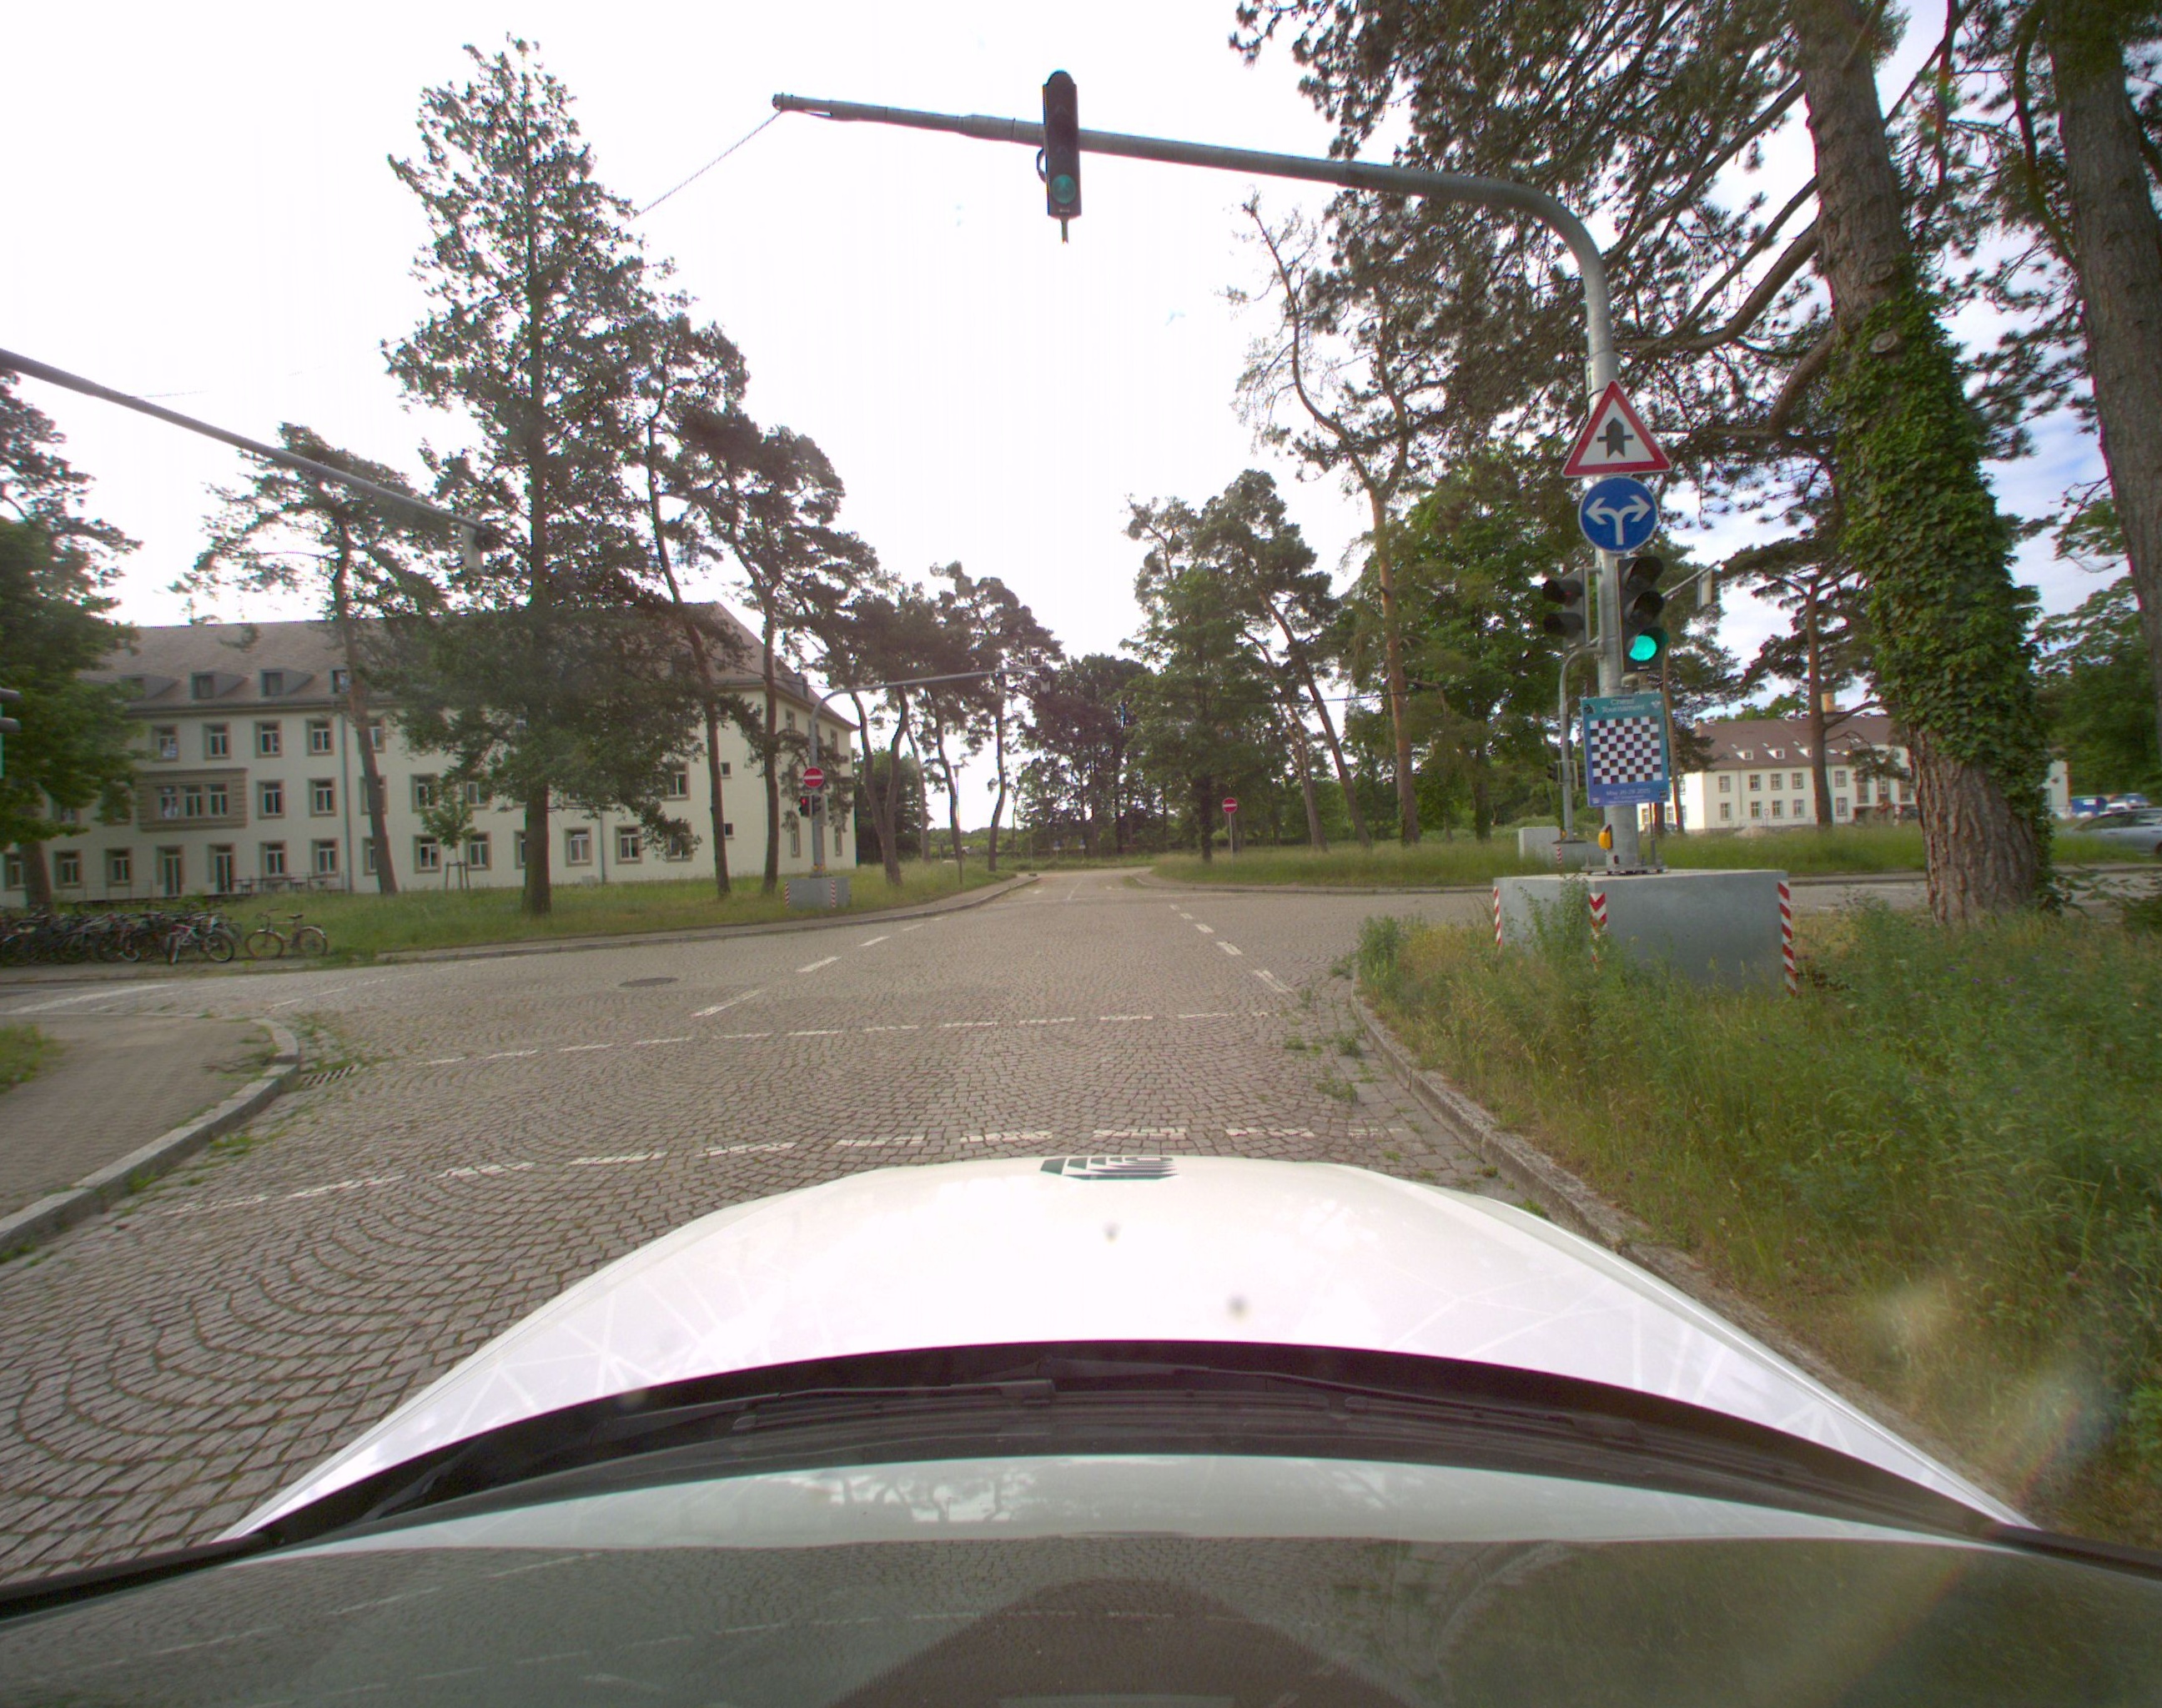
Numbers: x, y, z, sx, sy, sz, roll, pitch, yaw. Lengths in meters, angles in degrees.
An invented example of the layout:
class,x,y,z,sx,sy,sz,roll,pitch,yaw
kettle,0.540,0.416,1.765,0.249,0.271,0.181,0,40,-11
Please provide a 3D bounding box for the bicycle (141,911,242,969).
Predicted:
class,x,y,z,sx,sy,sz,roll,pitch,yaw
bicycle,-18.616,1.802,17.059,1.460,1.079,0.516,-3,0,-1

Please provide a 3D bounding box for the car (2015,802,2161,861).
class,x,y,z,sx,sy,sz,roll,pitch,yaw
car,28.505,-0.610,22.026,1.727,1.509,4.246,-2,0,3

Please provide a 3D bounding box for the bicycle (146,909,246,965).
class,x,y,z,sx,sy,sz,roll,pitch,yaw
bicycle,-20.004,1.861,18.450,0.513,1.079,1.584,-3,0,-1

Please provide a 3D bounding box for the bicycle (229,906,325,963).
class,x,y,z,sx,sy,sz,roll,pitch,yaw
bicycle,-16.980,1.697,17.216,1.460,1.065,0.516,-3,0,-1

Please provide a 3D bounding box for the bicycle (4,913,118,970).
class,x,y,z,sx,sy,sz,roll,pitch,yaw
bicycle,-22.998,1.951,18.409,0.512,1.079,1.586,-3,0,2

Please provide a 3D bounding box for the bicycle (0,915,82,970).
class,x,y,z,sx,sy,sz,roll,pitch,yaw
bicycle,-23.834,1.999,18.399,0.512,1.079,1.586,-3,0,2

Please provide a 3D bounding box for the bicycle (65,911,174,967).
class,x,y,z,sx,sy,sz,roll,pitch,yaw
bicycle,-21.746,1.894,18.469,0.512,1.079,1.586,-3,0,2

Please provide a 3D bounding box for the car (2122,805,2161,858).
class,x,y,z,sx,sy,sz,roll,pitch,yaw
car,31.118,-0.649,21.578,1.727,1.468,4.246,-2,0,3

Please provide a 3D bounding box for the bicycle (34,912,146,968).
class,x,y,z,sx,sy,sz,roll,pitch,yaw
bicycle,-22.376,1.917,18.426,0.512,1.079,1.586,-3,0,2

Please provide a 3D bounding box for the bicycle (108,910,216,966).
class,x,y,z,sx,sy,sz,roll,pitch,yaw
bicycle,-20.683,1.874,18.366,0.512,1.079,1.587,-3,0,4

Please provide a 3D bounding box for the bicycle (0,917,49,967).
class,x,y,z,sx,sy,sz,roll,pitch,yaw
bicycle,-24.629,2.031,18.403,0.512,1.079,1.586,-3,0,2

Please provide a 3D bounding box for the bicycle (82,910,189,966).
class,x,y,z,sx,sy,sz,roll,pitch,yaw
bicycle,-21.385,1.887,18.463,0.512,1.079,1.586,-3,0,2

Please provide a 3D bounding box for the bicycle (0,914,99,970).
class,x,y,z,sx,sy,sz,roll,pitch,yaw
bicycle,-23.450,1.962,18.404,0.512,1.079,1.586,-3,0,2
